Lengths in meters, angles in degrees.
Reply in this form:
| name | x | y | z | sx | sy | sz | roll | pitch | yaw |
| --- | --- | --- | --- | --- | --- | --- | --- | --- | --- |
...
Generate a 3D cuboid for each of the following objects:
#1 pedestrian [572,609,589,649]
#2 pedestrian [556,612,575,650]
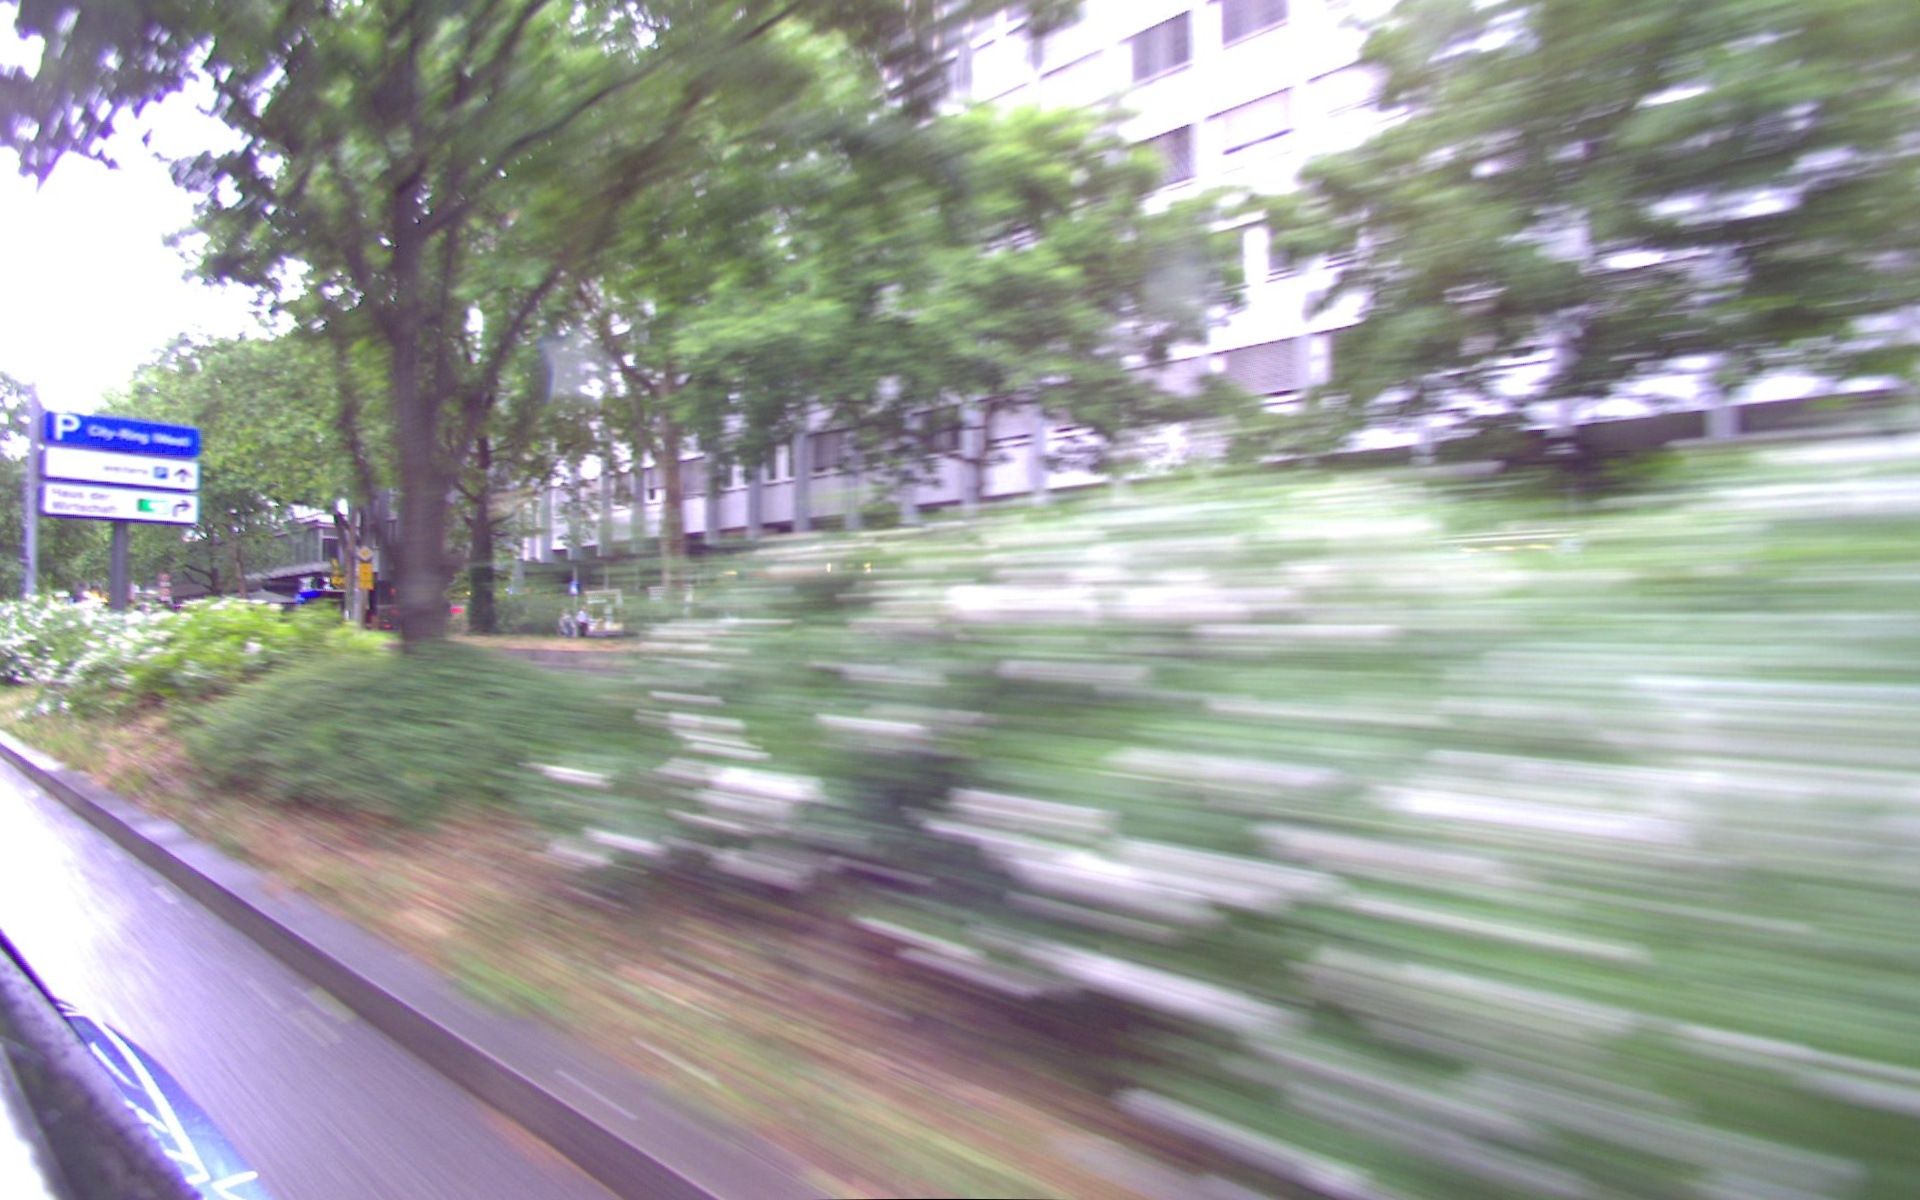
| name | x | y | z | sx | sy | sz | roll | pitch | yaw |
| --- | --- | --- | --- | --- | --- | --- | --- | --- | --- |
| pedestrian | -17.521 | 1.345 | 46.754 | 0.522 | 1.821 | 0.542 | -1 | -1 | 41 |
| pedestrian | -17.980 | 1.406 | 46.128 | 0.685 | 1.721 | 0.558 | -1 | -1 | 41 |
